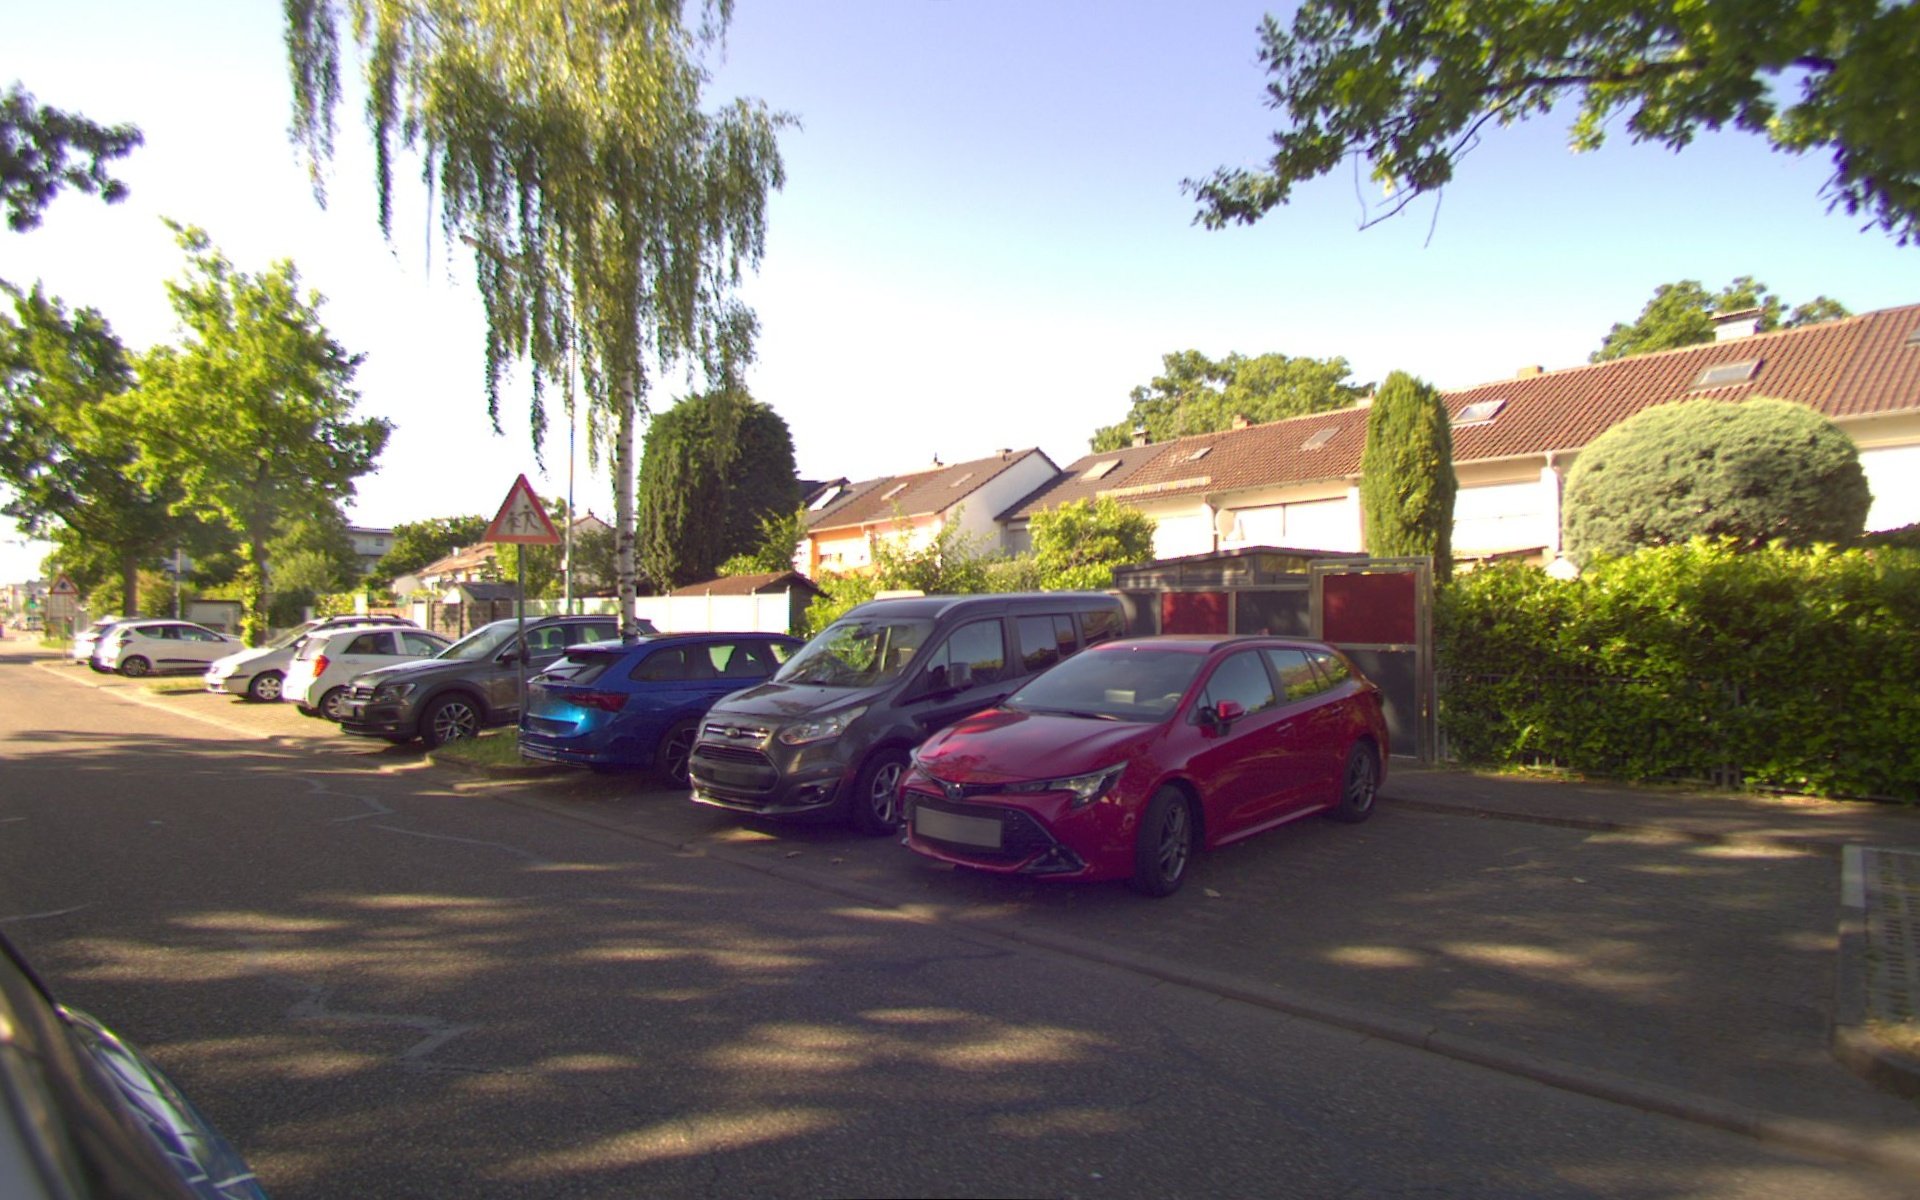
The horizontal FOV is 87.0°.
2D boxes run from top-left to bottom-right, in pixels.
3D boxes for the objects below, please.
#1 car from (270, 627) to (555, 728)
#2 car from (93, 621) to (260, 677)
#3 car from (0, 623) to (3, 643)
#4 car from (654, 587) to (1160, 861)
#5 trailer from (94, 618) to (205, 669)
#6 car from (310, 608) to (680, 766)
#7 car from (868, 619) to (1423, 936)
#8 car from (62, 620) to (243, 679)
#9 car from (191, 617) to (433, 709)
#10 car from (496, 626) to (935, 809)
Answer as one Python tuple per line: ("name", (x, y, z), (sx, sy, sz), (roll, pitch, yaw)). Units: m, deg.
("car", (-9.308, 1.228, 17.436), (1.795, 1.526, 3.958), (-1, -2, 42))
("car", (-22.385, 1.374, 28.992), (1.707, 1.507, 3.479), (-1, -2, 39))
("car", (-71.526, 2.430, 74.278), (3.852, 1.489, 1.741), (-2, -2, 44))
("car", (-0.169, 0.809, 8.937), (1.794, 1.782, 4.626), (-2, -1, 40))
("trailer", (-27.712, 1.451, 34.656), (1.298, 1.659, 2.733), (1, 0, 37))
("car", (-6.059, 1.007, 13.569), (1.760, 1.737, 4.166), (-1, -1, 41))
("car", (1.586, 0.897, 7.120), (1.836, 1.511, 4.429), (-1, -2, 41))
("car", (-24.382, 1.444, 30.678), (1.918, 1.586, 3.919), (0, 0, 35))
("car", (-13.261, 1.211, 20.865), (1.706, 1.626, 3.896), (-2, -1, 43))
("car", (-2.368, 1.042, 10.617), (1.724, 1.435, 4.224), (-1, -1, 44))
